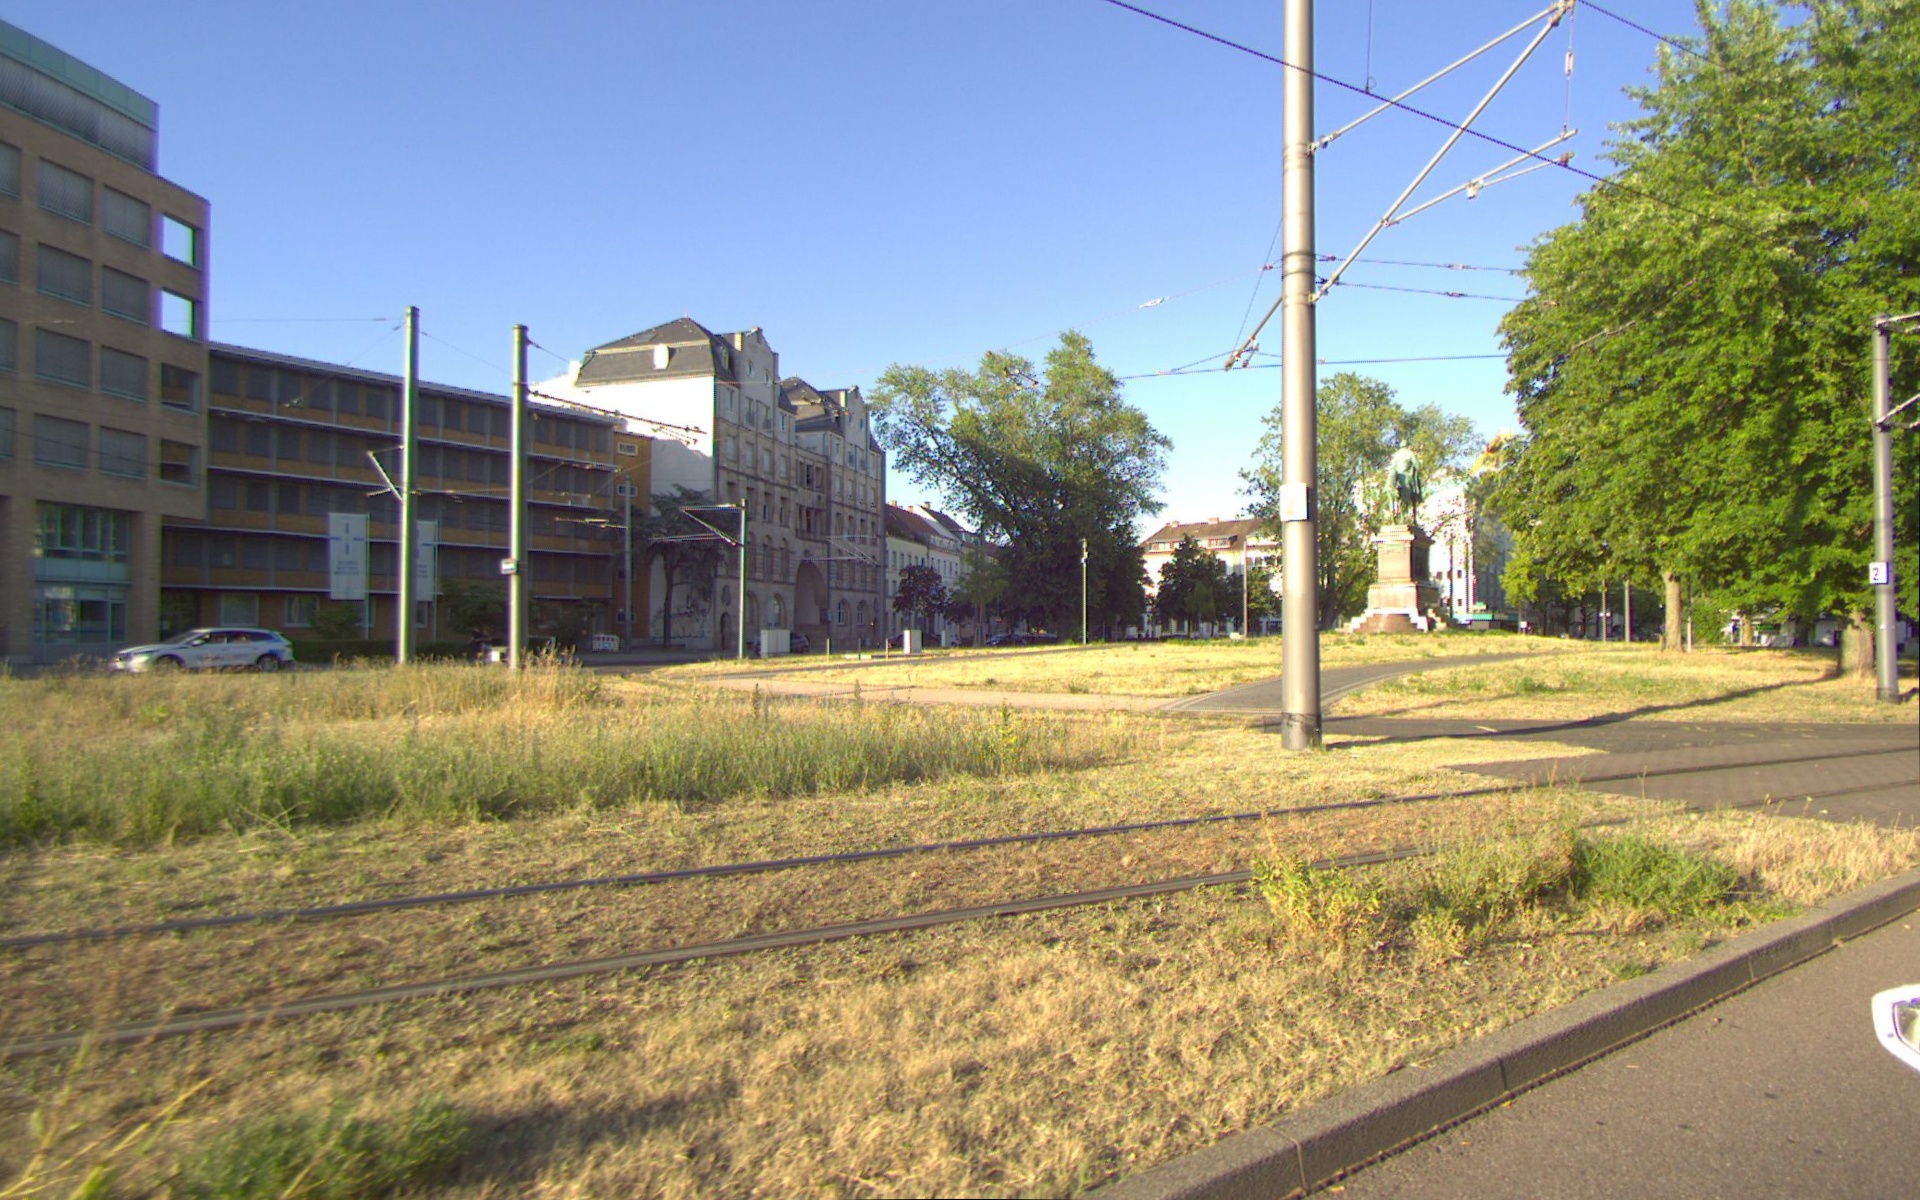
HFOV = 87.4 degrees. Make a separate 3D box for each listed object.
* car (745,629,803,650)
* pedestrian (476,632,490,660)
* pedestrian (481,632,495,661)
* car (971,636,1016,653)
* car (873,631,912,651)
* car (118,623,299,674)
[{"bbox_3d":[-11.537,2.451,62.609,1.542,1.275,3.722,0,-1,29],"label":"car"},{"bbox_3d":[-24.250,2.331,51.050,0.408,1.449,0.483,-1,-2,39],"label":"pedestrian"},{"bbox_3d":[-23.783,2.333,50.636,0.408,1.449,0.483,-1,-2,39],"label":"pedestrian"},{"bbox_3d":[2.843,3.744,84.766,3.477,1.372,1.543,1,-1,-28],"label":"car"},{"bbox_3d":[-5.068,3.094,75.865,1.525,1.372,3.519,0,-1,23],"label":"car"},{"bbox_3d":[-23.933,1.503,32.164,1.745,1.502,4.300,-1,-2,31],"label":"car"}]
